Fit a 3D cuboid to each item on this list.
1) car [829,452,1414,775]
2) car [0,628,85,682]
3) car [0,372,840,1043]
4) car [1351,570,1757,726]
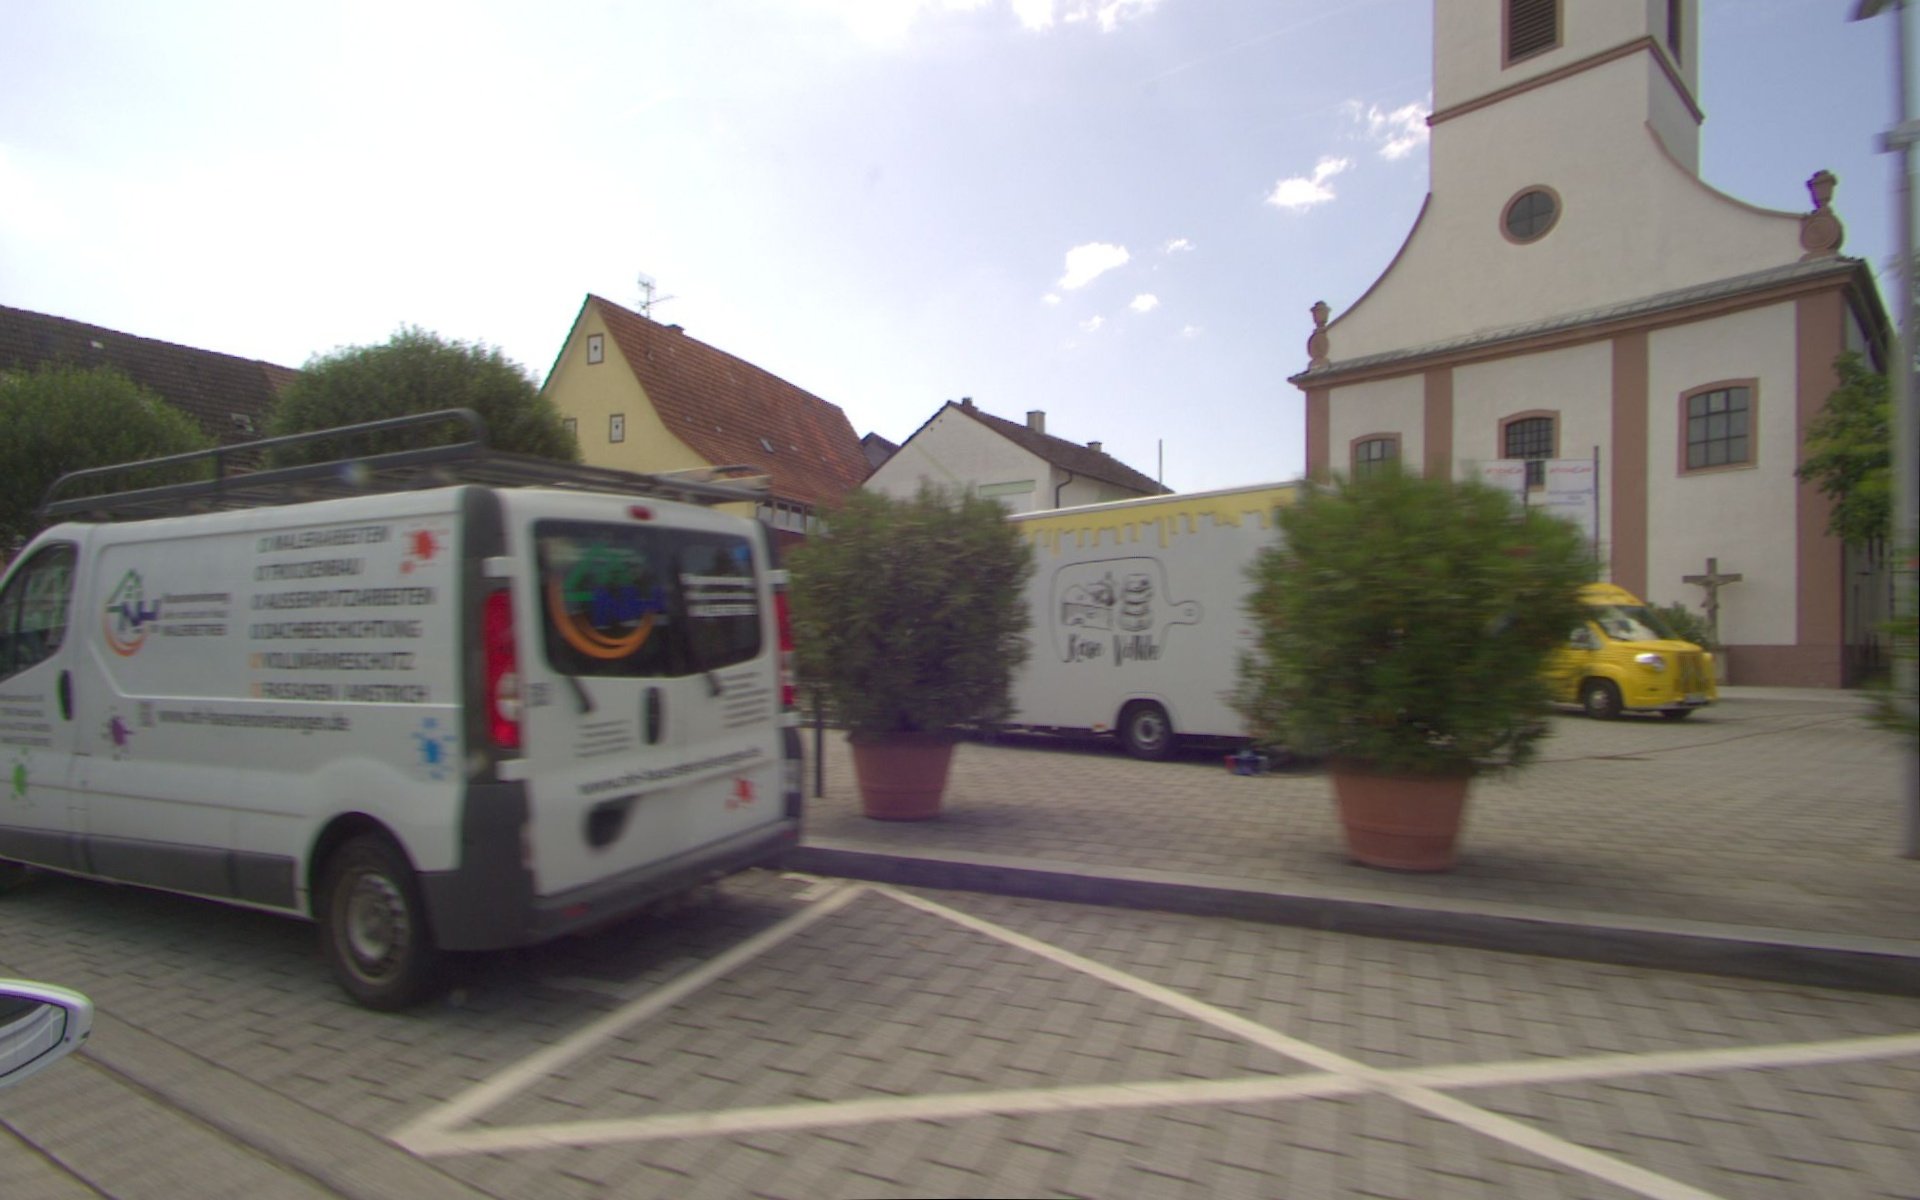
[{"bbox_3d":[1.659,0.303,12.742,7.039,2.999,2.739,-2,-4,43],"label":"car"},{"bbox_3d":[-27.190,1.510,27.809,1.798,1.492,3.989,-1,-2,30],"label":"car"},{"bbox_3d":[-3.281,0.389,5.273,5.019,2.206,1.942,-1,0,26],"label":"car"},{"bbox_3d":[11.193,0.909,19.860,2.608,2.508,6.953,1,-2,-18],"label":"car"}]
